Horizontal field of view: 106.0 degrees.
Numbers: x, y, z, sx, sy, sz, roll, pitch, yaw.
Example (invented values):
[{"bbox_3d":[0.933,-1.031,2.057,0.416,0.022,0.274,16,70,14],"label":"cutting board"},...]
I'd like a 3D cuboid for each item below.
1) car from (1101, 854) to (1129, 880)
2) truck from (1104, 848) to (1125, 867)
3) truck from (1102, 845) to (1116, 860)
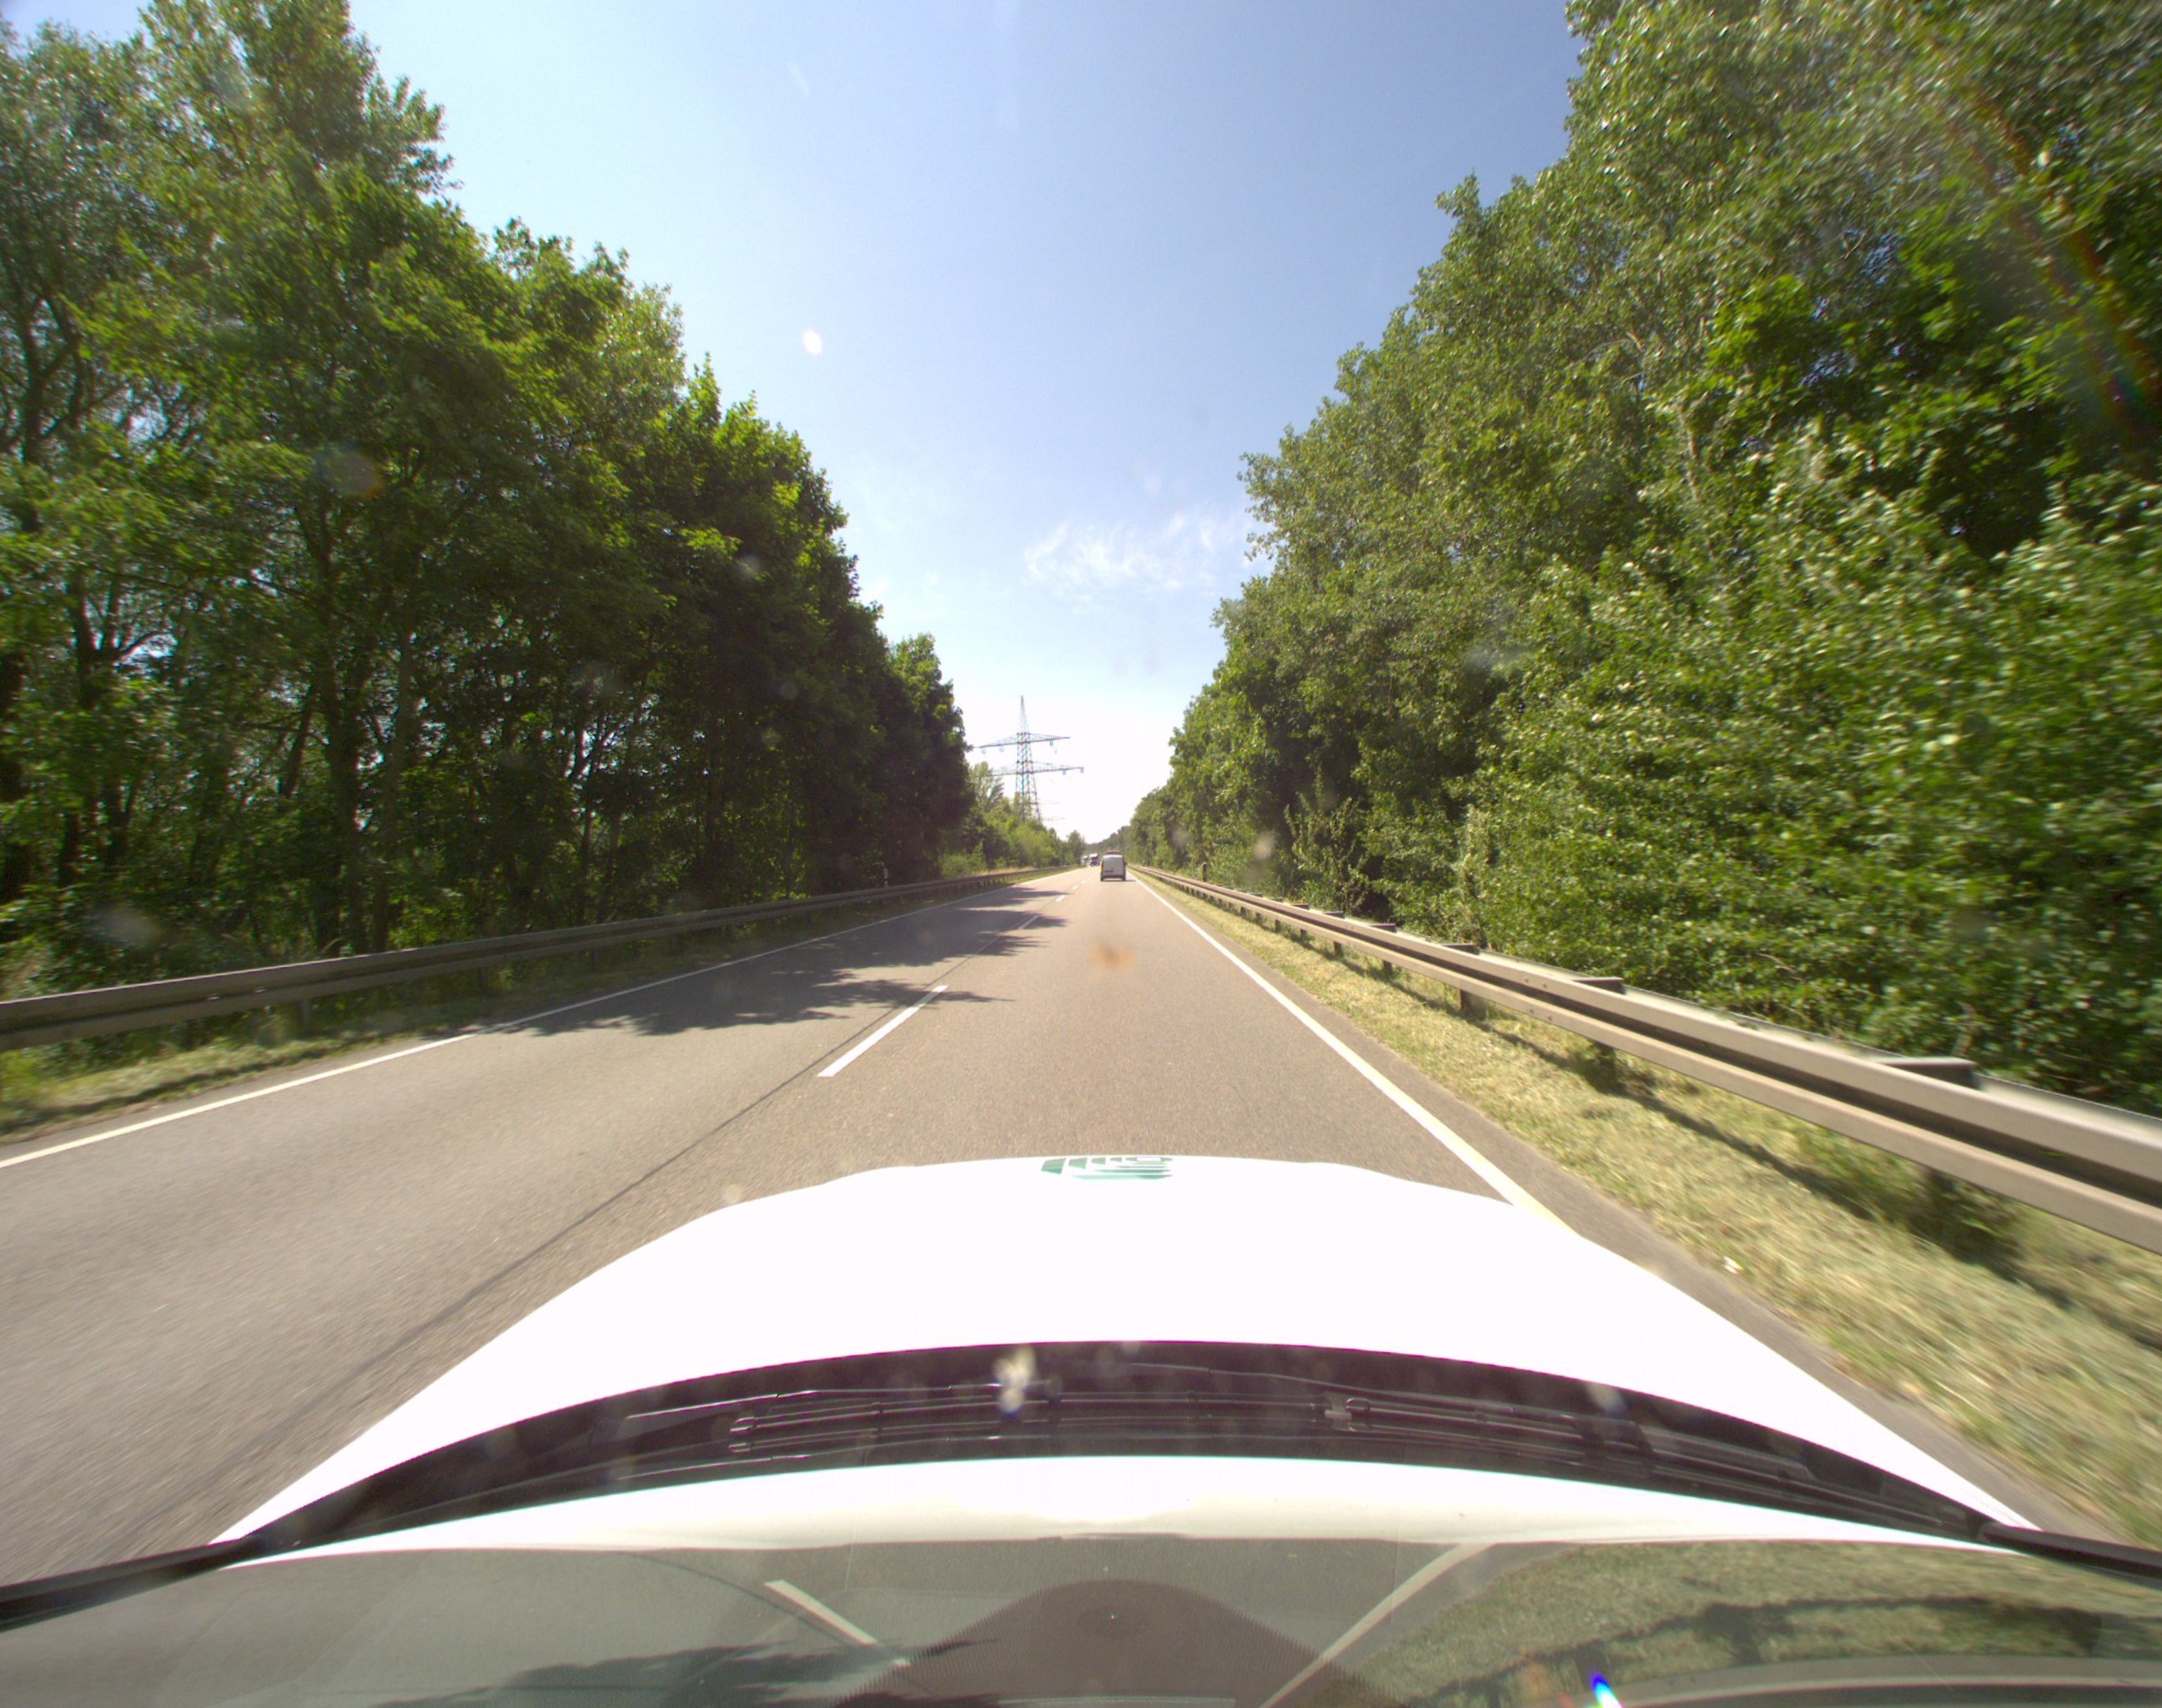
[{"bbox_3d":[2.382,0.875,57.079,1.868,1.741,4.002,-1,0,2],"label":"car"},{"bbox_3d":[6.115,0.553,149.518,3.286,3.172,14.402,-1,0,0],"label":"truck"},{"bbox_3d":[7.617,-0.363,223.633,3.391,3.854,16.815,-1,0,0],"label":"truck"}]
